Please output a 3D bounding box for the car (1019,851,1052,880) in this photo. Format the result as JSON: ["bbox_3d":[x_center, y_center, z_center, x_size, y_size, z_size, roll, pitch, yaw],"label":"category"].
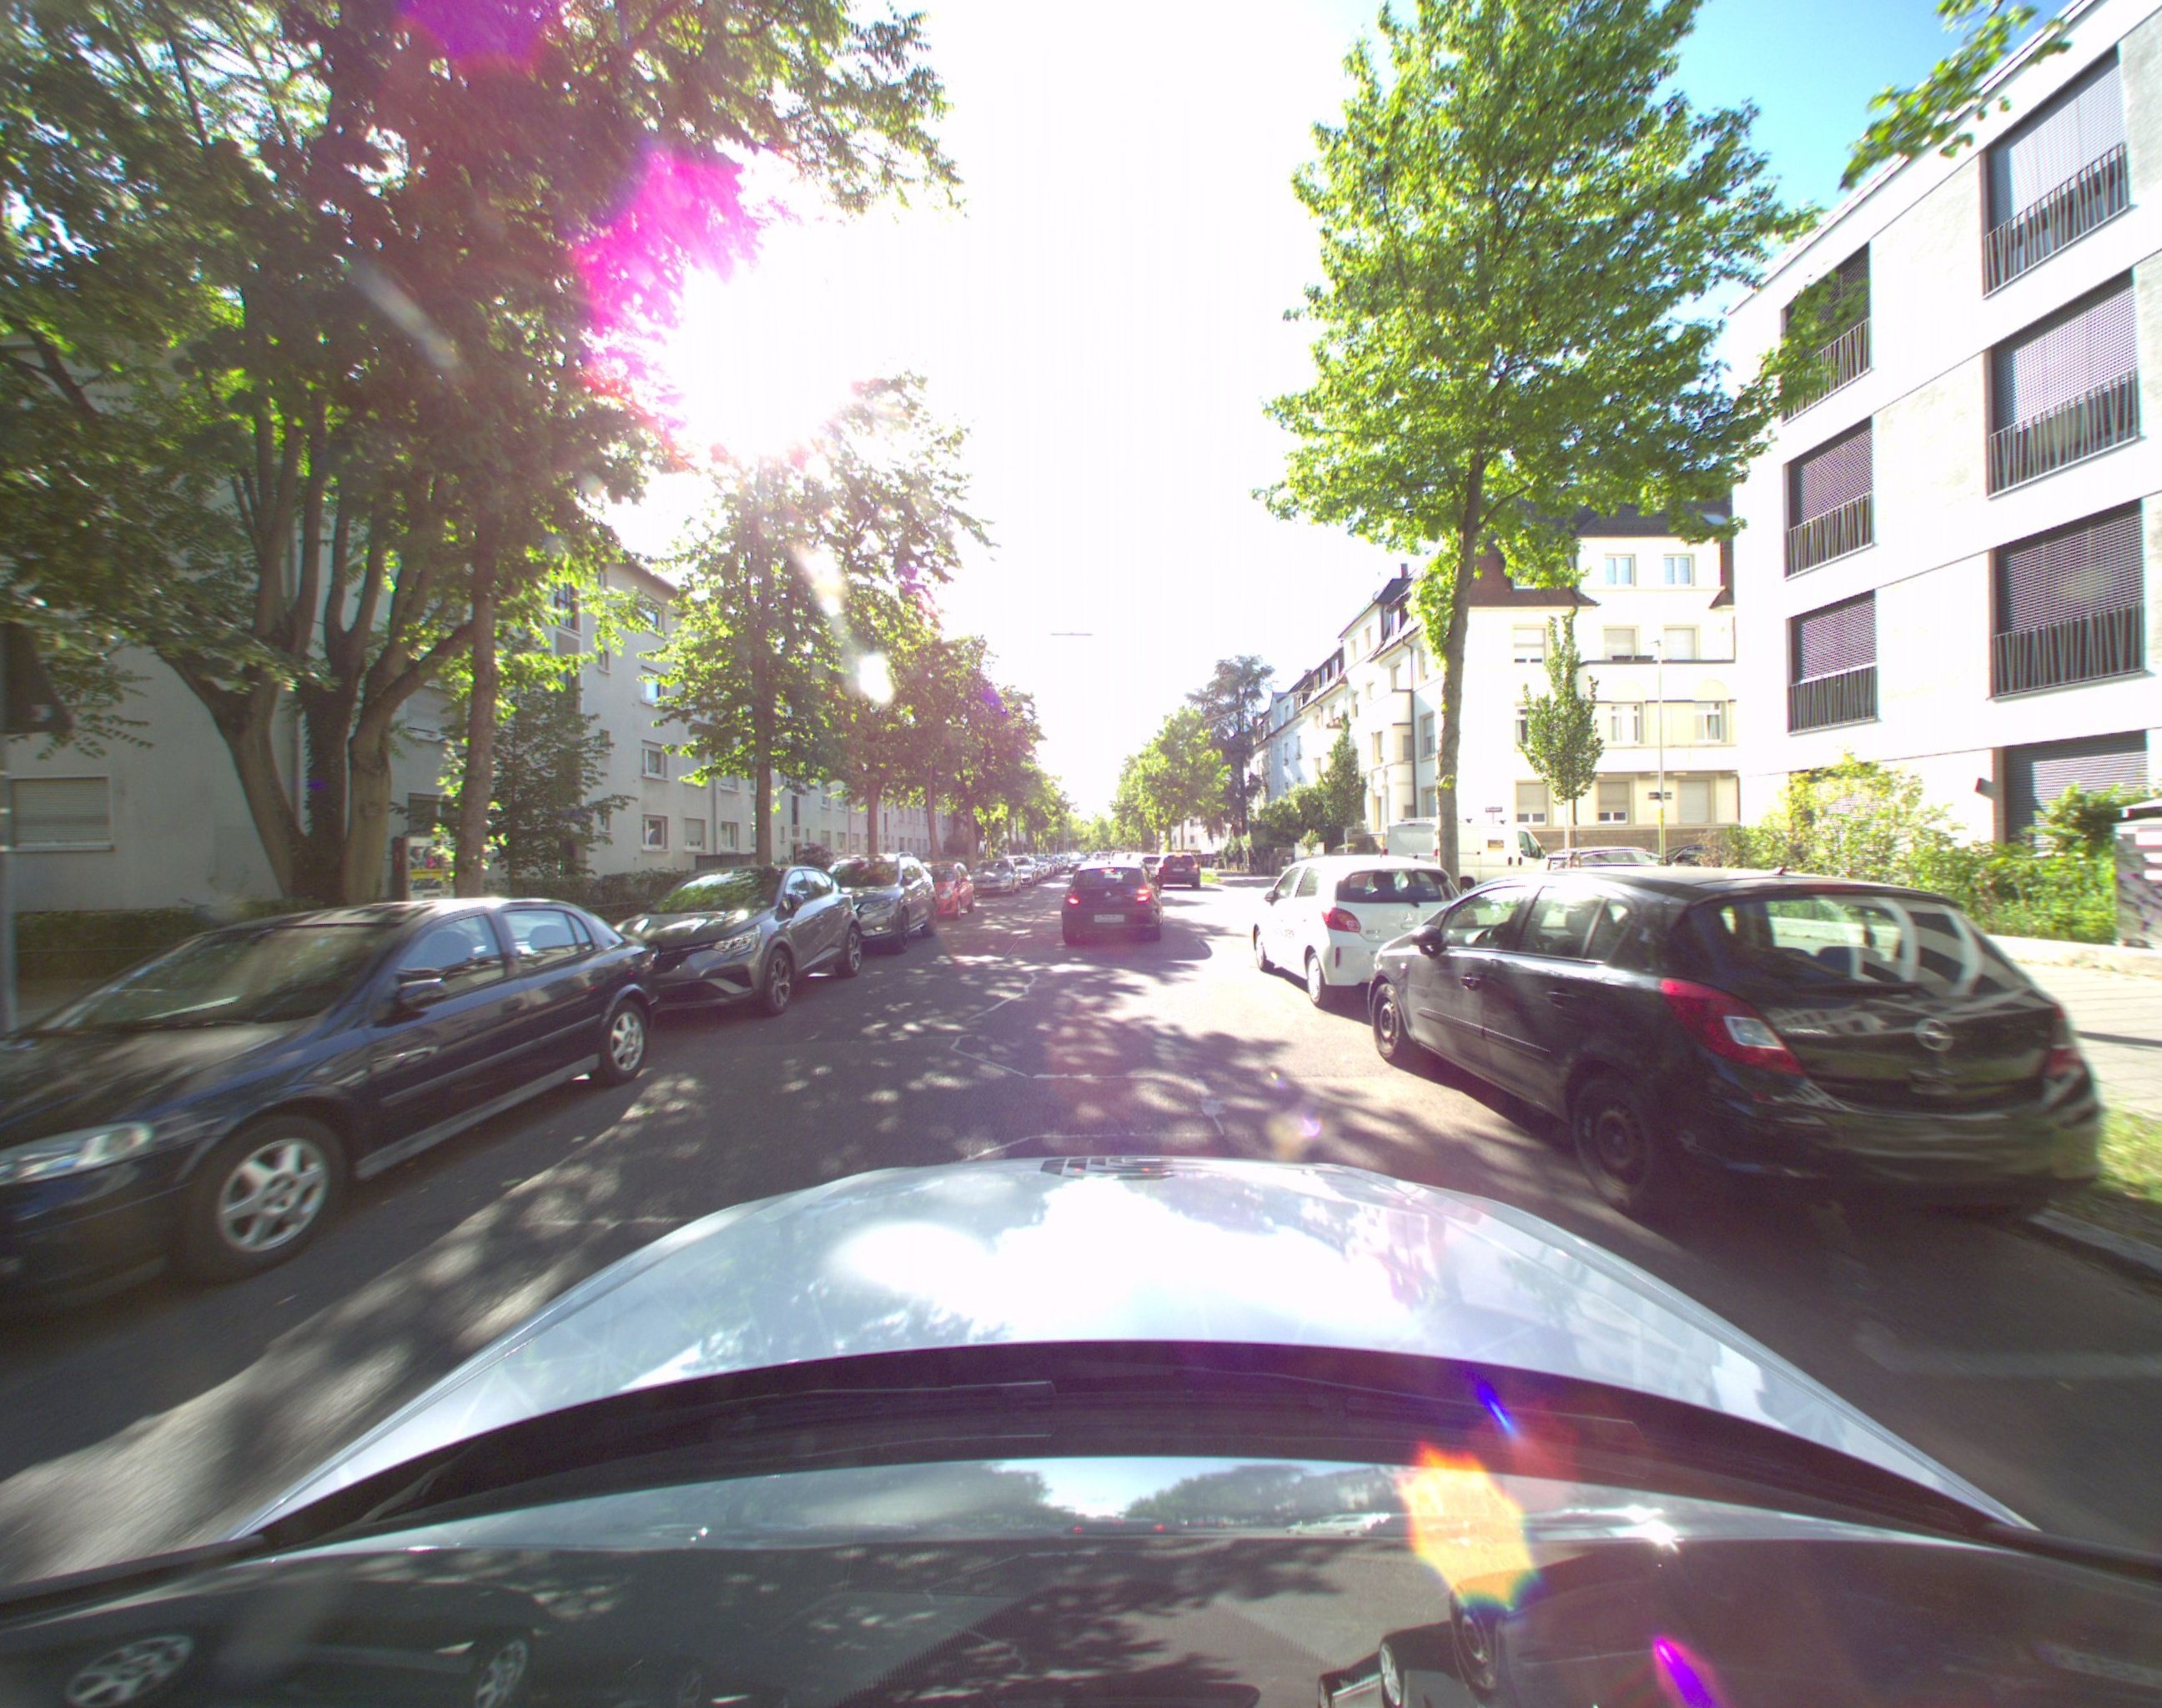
[{"bbox_3d":[-2.880,0.703,52.524,1.723,1.618,4.365,-5,0,0],"label":"car"}]

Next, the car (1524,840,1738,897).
[{"bbox_3d":[15.970,0.386,23.819,4.914,1.469,2.047,-1,0,-2],"label":"car"}]

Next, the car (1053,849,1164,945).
[{"bbox_3d":[0.630,0.703,15.418,1.774,1.523,4.006,-2,0,5],"label":"car"}]

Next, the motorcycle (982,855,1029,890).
[{"bbox_3d":[-3.439,0.817,36.797,0.994,1.503,2.208,-2,0,-39],"label":"motorcycle"}]

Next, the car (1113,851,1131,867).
[{"bbox_3d":[4.772,0.566,95.318,1.900,1.699,4.314,2,0,1],"label":"car"}]

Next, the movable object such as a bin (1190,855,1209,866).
[{"bbox_3d":[10.258,0.573,70.408,1.211,0.905,1.673,-1,0,21],"label":"movable object such as a bin"}]

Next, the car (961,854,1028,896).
[{"bbox_3d":[-3.406,0.800,32.946,2.035,1.524,4.608,-1,0,2],"label":"car"}]

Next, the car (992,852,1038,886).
[{"bbox_3d":[-3.222,0.704,40.774,2.059,1.524,4.718,-1,0,-2],"label":"car"}]

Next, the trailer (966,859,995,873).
[{"bbox_3d":[-8.252,0.992,67.152,1.781,1.034,3.284,-1,0,3],"label":"trailer"}]

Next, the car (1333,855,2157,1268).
[{"bbox_3d":[3.044,0.754,5.014,1.665,1.450,4.178,1,0,0],"label":"car"}]

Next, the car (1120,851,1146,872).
[{"bbox_3d":[4.144,0.567,65.598,1.918,1.651,5.098,1,0,2],"label":"car"}]

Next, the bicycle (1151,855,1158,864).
[{"bbox_3d":[10.034,0.768,111.218,0.682,1.153,2.401,-2,0,-2],"label":"bicycle"}]

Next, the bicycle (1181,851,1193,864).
[{"bbox_3d":[10.741,0.347,82.776,0.836,1.257,2.229,-1,0,-3],"label":"bicycle"}]

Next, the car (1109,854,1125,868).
[{"bbox_3d":[5.116,1.018,115.682,1.964,1.949,4.985,-1,0,0],"label":"car"}]

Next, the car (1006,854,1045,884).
[{"bbox_3d":[-3.074,0.814,45.959,1.722,1.446,4.820,-4,0,0],"label":"car"}]

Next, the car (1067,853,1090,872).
[{"bbox_3d":[-0.181,0.712,68.250,1.803,1.445,4.365,-3,0,0],"label":"car"}]

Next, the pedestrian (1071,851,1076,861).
[{"bbox_3d":[-1.527,0.369,165.526,0.715,1.900,0.834,-1,0,-9],"label":"pedestrian"}]

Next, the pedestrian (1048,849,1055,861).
[{"bbox_3d":[-4.980,0.202,137.271,0.854,2.013,0.984,-1,0,9],"label":"pedestrian"}]

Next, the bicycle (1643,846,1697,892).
[{"bbox_3d":[15.716,0.391,21.715,2.003,1.174,0.655,0,-1,-39],"label":"bicycle"}]

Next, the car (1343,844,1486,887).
[{"bbox_3d":[12.304,0.434,30.373,4.683,1.469,1.961,-1,0,15],"label":"car"}]

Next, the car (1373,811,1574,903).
[{"bbox_3d":[10.870,0.036,22.565,5.062,2.306,2.218,-1,0,-23],"label":"car"}]

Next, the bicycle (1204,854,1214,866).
[{"bbox_3d":[10.484,0.508,66.898,0.579,0.975,1.904,-2,0,2],"label":"bicycle"}]

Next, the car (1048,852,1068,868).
[{"bbox_3d":[-2.395,0.577,85.378,1.805,1.596,4.233,-2,0,0],"label":"car"}]

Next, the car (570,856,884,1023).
[{"bbox_3d":[-3.916,0.823,9.978,1.762,1.531,4.421,-1,0,2],"label":"car"}]

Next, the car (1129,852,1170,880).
[{"bbox_3d":[3.754,0.626,45.300,1.816,1.469,4.908,0,0,0],"label":"car"}]

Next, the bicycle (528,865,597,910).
[{"bbox_3d":[-15.120,0.958,23.793,0.683,1.201,1.913,-1,0,3],"label":"bicycle"}]

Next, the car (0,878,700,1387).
[{"bbox_3d":[-4.081,0.908,4.548,1.779,1.352,4.480,-2,0,-1],"label":"car"}]

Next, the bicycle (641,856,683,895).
[{"bbox_3d":[-14.168,0.707,27.603,0.397,1.289,1.914,-2,0,0],"label":"bicycle"}]

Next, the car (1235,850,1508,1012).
[{"bbox_3d":[3.090,0.711,9.585,1.727,1.487,4.008,-1,0,-1],"label":"car"}]

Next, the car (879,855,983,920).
[{"bbox_3d":[-3.811,0.806,21.474,1.849,1.469,4.183,-1,0,1],"label":"car"}]

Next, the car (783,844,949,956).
[{"bbox_3d":[-3.769,0.719,15.214,1.762,1.688,4.813,-2,0,0],"label":"car"}]

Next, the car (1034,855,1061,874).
[{"bbox_3d":[-2.627,0.819,64.751,1.773,1.379,4.263,-3,0,1],"label":"car"}]

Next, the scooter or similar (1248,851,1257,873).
[{"bbox_3d":[9.760,0.462,46.386,0.398,1.185,1.211,-1,1,16],"label":"scooter or similar"}]

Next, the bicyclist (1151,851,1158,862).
[{"bbox_3d":[10.028,0.314,111.201,0.674,1.553,1.021,-2,0,-3],"label":"bicyclist"}]

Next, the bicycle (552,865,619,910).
[{"bbox_3d":[-14.416,0.952,23.771,0.683,1.201,1.913,-1,0,3],"label":"bicycle"}]

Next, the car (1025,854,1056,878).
[{"bbox_3d":[-2.819,0.820,57.865,1.722,1.477,4.620,-5,0,1],"label":"car"}]

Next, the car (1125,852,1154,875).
[{"bbox_3d":[4.000,0.632,56.016,1.649,1.532,3.968,1,0,0],"label":"car"}]

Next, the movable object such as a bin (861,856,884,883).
[{"bbox_3d":[-10.881,0.795,42.514,0.928,1.324,1.377,-2,0,-5],"label":"movable object such as a bin"}]

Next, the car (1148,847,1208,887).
[{"bbox_3d":[3.996,0.542,34.366,1.890,1.524,4.965,0,-1,0],"label":"car"}]
